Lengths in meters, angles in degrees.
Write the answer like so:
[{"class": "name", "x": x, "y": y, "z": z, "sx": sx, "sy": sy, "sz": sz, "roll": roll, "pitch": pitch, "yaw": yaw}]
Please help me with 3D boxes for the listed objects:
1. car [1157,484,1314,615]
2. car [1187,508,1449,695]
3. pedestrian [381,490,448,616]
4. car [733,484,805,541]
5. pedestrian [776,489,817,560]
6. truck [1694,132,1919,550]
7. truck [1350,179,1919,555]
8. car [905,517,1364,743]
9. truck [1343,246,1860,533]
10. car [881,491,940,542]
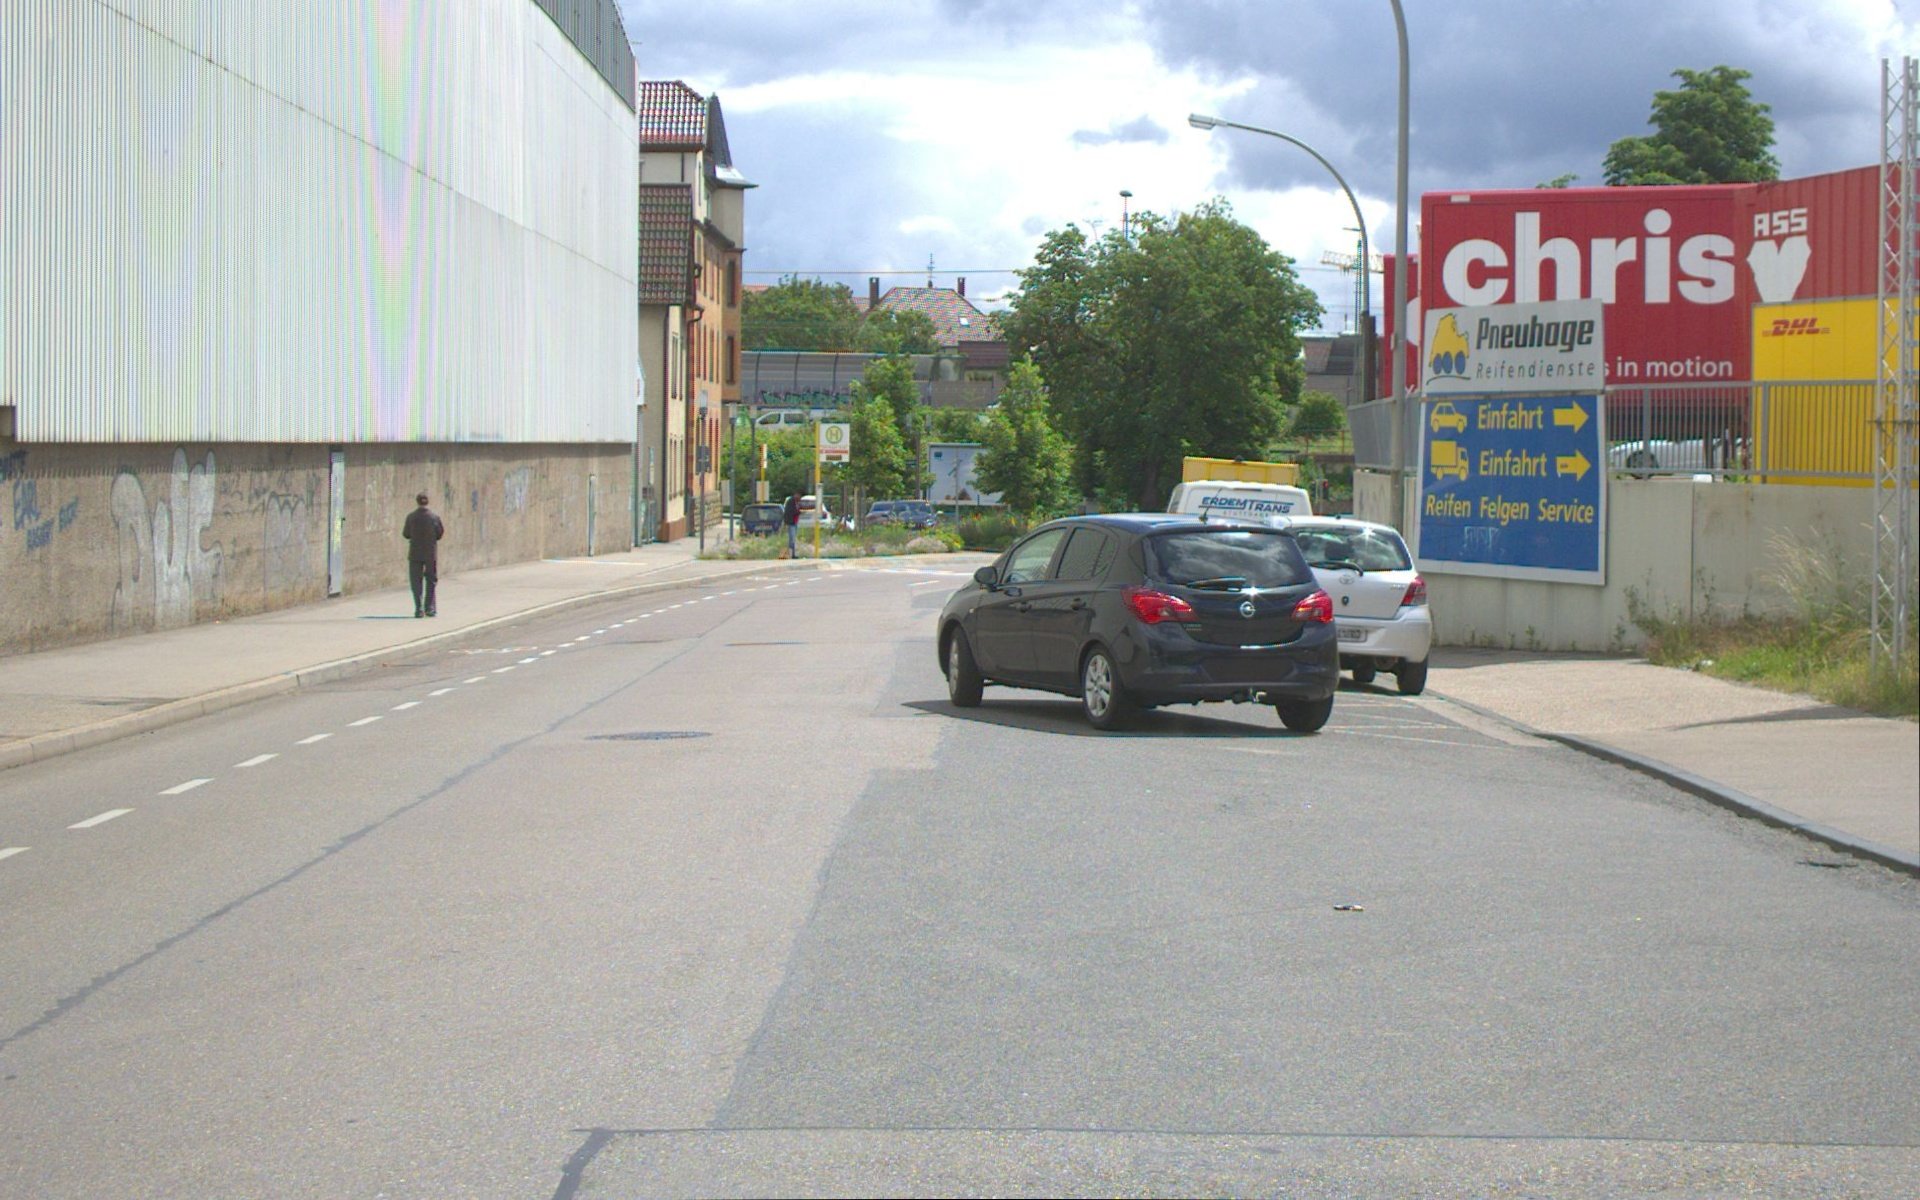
[{"class": "car", "x": 3.358, "y": -0.642, "z": 42.416, "sx": 1.701, "sy": 1.522, "sz": 3.738, "roll": 1, "pitch": 1, "yaw": 1}, {"class": "car", "x": 3.222, "y": -0.034, "z": 31.593, "sx": 1.701, "sy": 1.522, "sz": 3.739, "roll": 3, "pitch": 1, "yaw": -4}, {"class": "pedestrian", "x": -7.113, "y": -0.606, "z": 44.862, "sx": 0.713, "sy": 1.632, "sz": 0.777, "roll": 1, "pitch": -1, "yaw": 2}, {"class": "car", "x": -5.451, "y": -2.493, "z": 98.543, "sx": 1.852, "sy": 1.481, "sz": 4.000, "roll": 1, "pitch": 0, "yaw": -1}, {"class": "pedestrian", "x": -3.895, "y": -1.797, "z": 81.992, "sx": 0.853, "sy": 1.657, "sz": 0.860, "roll": 0, "pitch": -1, "yaw": 4}, {"class": "truck", "x": 11.407, "y": -2.870, "z": 38.734, "sx": 2.573, "sy": 4.434, "sz": 7.865, "roll": 1, "pitch": 0, "yaw": -17}, {"class": "truck", "x": 9.606, "y": -2.957, "z": 45.405, "sx": 8.459, "sy": 4.655, "sz": 2.579, "roll": 0, "pitch": -1, "yaw": 21}, {"class": "car", "x": 1.148, "y": 0.158, "z": 24.444, "sx": 1.701, "sy": 1.442, "sz": 3.795, "roll": 0, "pitch": 1, "yaw": -24}, {"class": "truck", "x": 10.884, "y": -3.518, "z": 58.614, "sx": 8.454, "sy": 4.655, "sz": 2.581, "roll": 0, "pitch": -1, "yaw": 11}, {"class": "car", "x": -1.570, "y": -2.648, "z": 110.015, "sx": 1.852, "sy": 1.481, "sz": 4.000, "roll": 1, "pitch": 0, "yaw": -1}]
